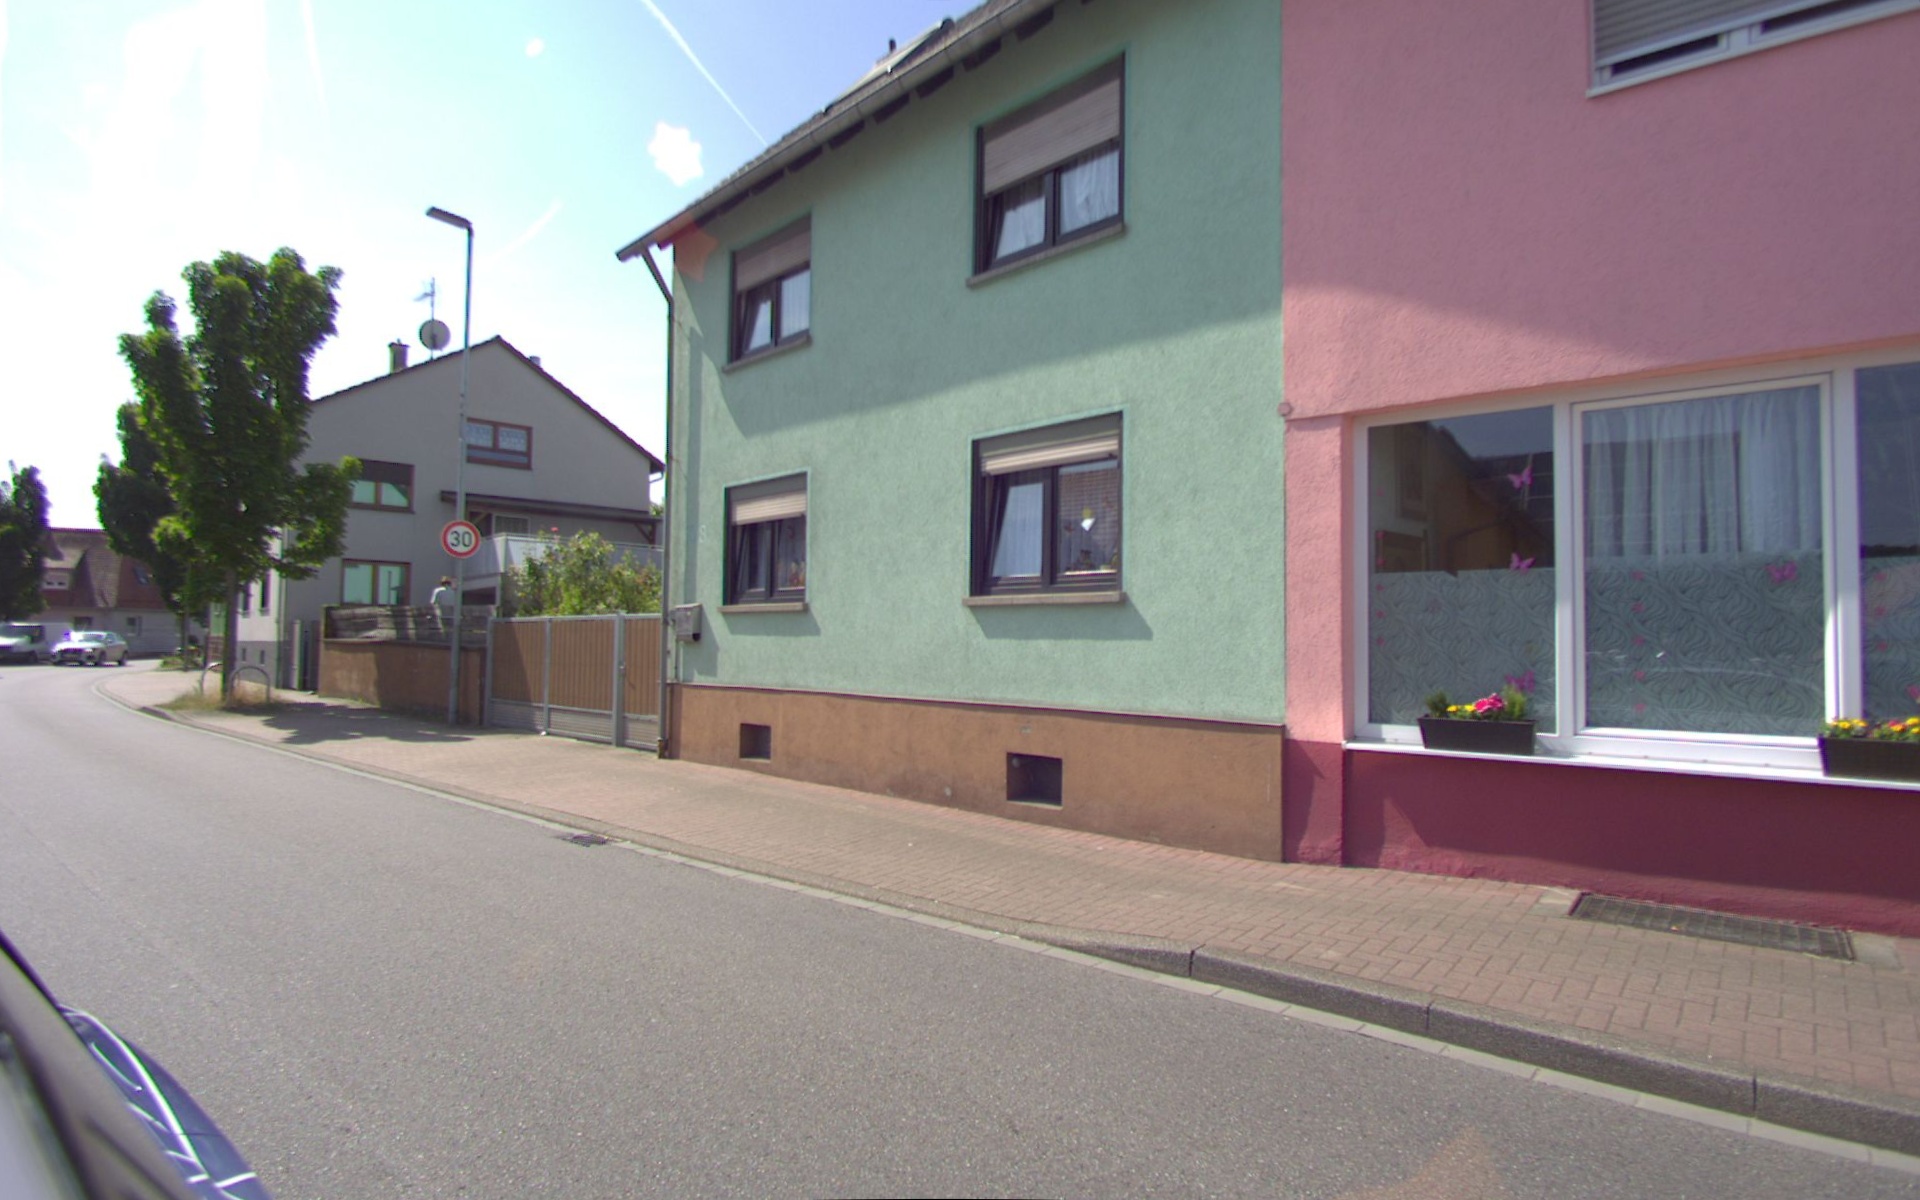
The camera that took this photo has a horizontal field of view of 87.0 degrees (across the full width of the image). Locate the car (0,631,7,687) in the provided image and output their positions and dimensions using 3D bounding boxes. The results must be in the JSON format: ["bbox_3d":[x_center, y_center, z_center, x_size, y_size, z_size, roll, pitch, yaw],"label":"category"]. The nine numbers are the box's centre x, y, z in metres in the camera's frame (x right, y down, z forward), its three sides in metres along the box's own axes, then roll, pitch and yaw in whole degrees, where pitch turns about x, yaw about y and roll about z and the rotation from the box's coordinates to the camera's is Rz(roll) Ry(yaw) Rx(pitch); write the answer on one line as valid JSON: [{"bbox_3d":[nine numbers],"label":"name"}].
[{"bbox_3d":[-32.025,1.875,32.602,1.767,1.665,4.396,2,-1,-45],"label":"car"}]

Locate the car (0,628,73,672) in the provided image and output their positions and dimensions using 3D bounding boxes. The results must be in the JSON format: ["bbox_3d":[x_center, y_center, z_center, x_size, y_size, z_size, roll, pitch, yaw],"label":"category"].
[{"bbox_3d":[-43.338,2.279,46.828,1.916,1.866,4.524,-1,0,-20],"label":"car"}]

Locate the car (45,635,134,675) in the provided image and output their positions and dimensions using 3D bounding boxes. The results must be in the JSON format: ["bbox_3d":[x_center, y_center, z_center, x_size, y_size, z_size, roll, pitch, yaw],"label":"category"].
[{"bbox_3d":[-40.323,2.510,47.003,1.776,1.639,4.137,-1,0,-20],"label":"car"}]
